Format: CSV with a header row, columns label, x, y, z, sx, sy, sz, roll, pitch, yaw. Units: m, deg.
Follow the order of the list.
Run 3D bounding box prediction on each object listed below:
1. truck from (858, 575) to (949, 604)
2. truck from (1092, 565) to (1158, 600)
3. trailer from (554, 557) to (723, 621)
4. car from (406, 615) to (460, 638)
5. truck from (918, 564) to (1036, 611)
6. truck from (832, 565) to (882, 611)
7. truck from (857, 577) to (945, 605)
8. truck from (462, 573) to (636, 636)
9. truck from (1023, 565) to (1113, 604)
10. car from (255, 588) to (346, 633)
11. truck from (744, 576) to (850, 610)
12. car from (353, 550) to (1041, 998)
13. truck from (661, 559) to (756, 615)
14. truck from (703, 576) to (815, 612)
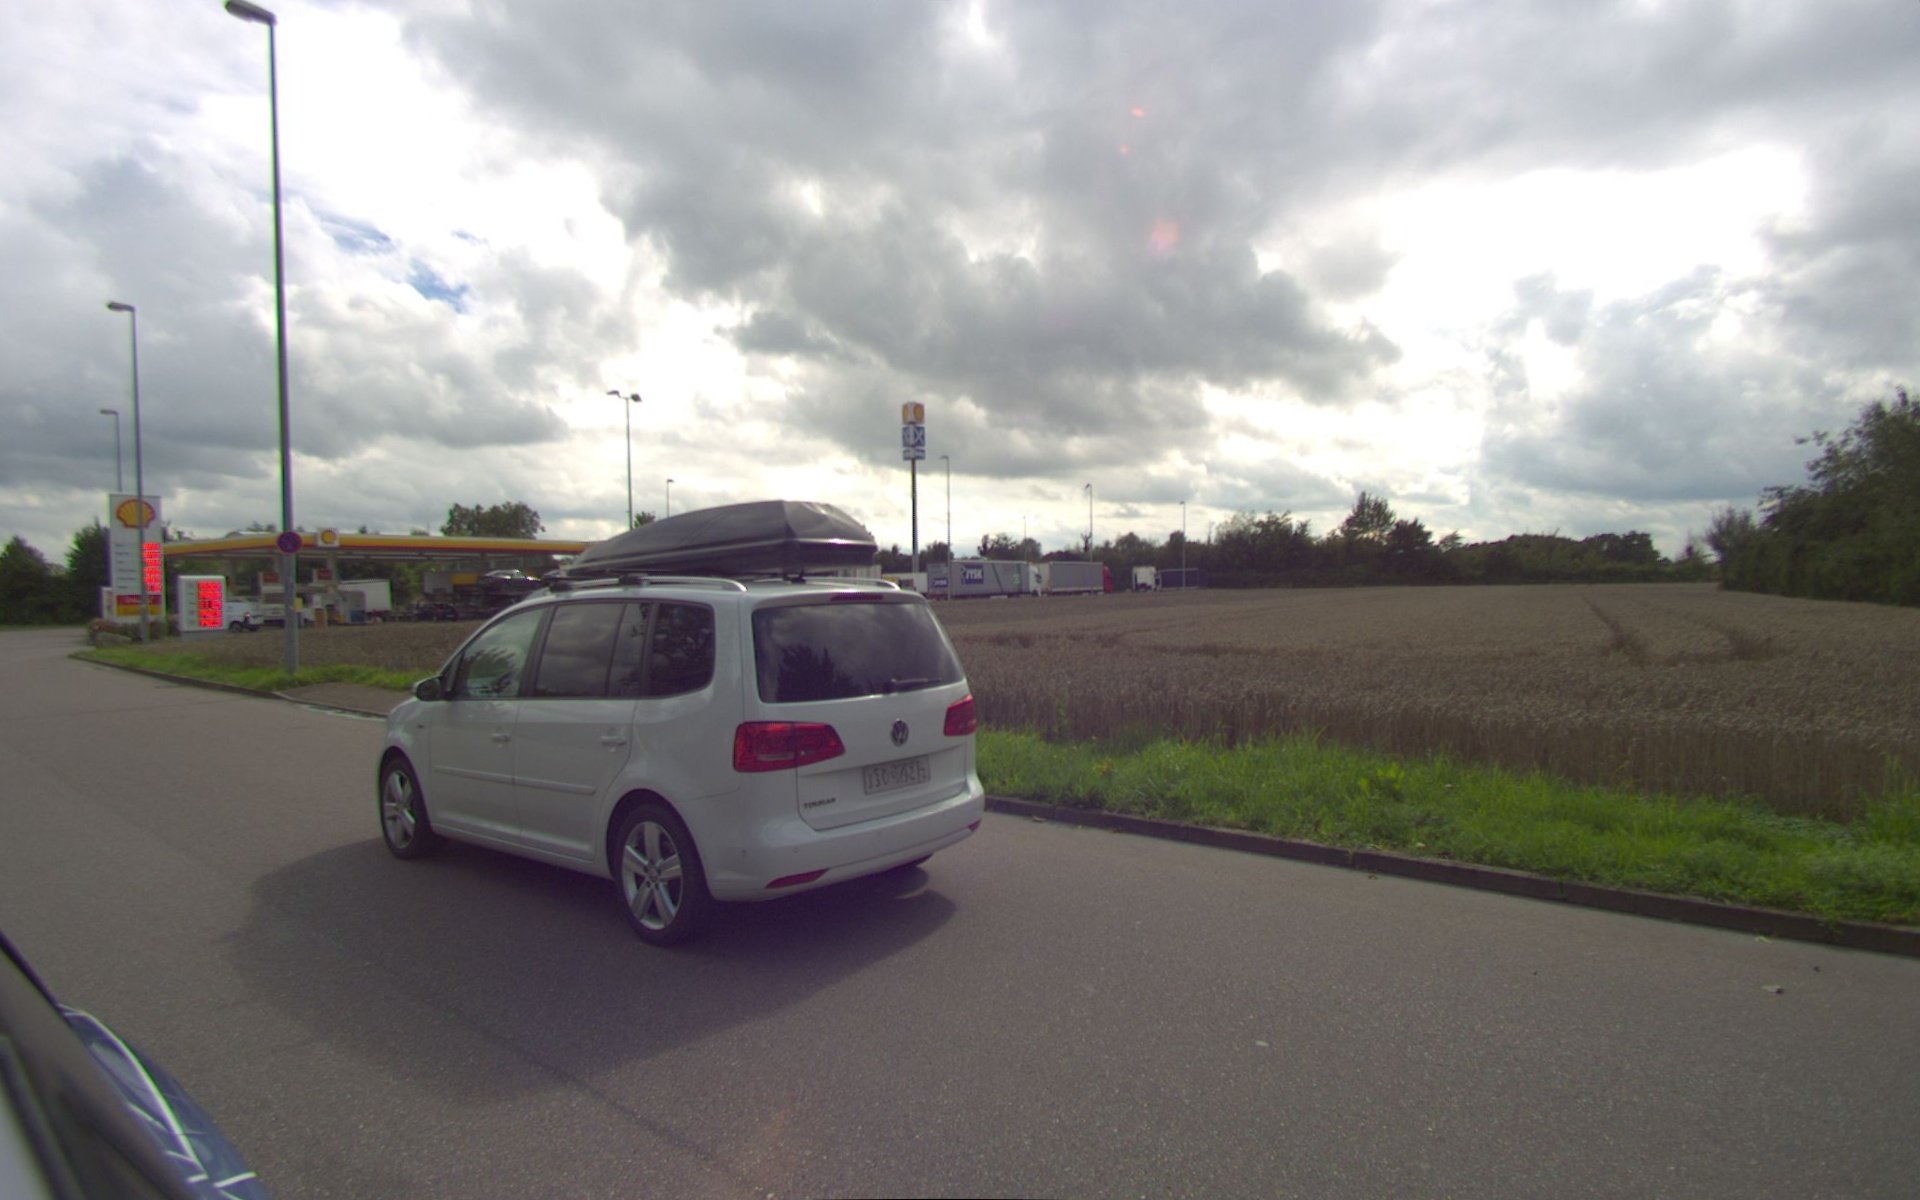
label,x,y,z,sx,sy,sz,roll,pitch,yaw
truck,-8.088,-1.512,144.158,12.595,3.922,2.832,-1,1,-14
truck,19.947,-2.116,121.573,2.817,3.922,12.662,0,1,34
trailer,-22.287,-0.814,71.413,2.703,4.055,12.711,-2,0,31
car,-38.920,1.965,74.756,3.744,1.613,1.700,-2,0,28
truck,1.865,-1.203,91.703,2.817,3.922,15.284,0,1,34
truck,-10.239,-1.216,99.052,2.914,4.143,14.789,-1,1,-13
truck,-8.682,-1.353,149.649,12.595,3.922,2.832,-1,1,-14
truck,-28.297,0.173,70.873,2.735,3.953,13.153,0,1,24
truck,11.758,-1.715,107.785,2.817,3.922,15.284,0,1,34
car,-43.381,0.651,66.761,2.193,2.808,5.808,-2,0,0
truck,-20.265,-0.886,126.100,12.798,3.922,2.831,-1,1,-12
car,-1.686,0.682,5.712,4.027,1.678,1.682,-1,-1,38
truck,-18.970,-0.988,76.908,2.703,4.055,7.093,-2,0,31
truck,-23.496,-0.763,118.450,12.595,3.922,2.832,-1,1,-14
